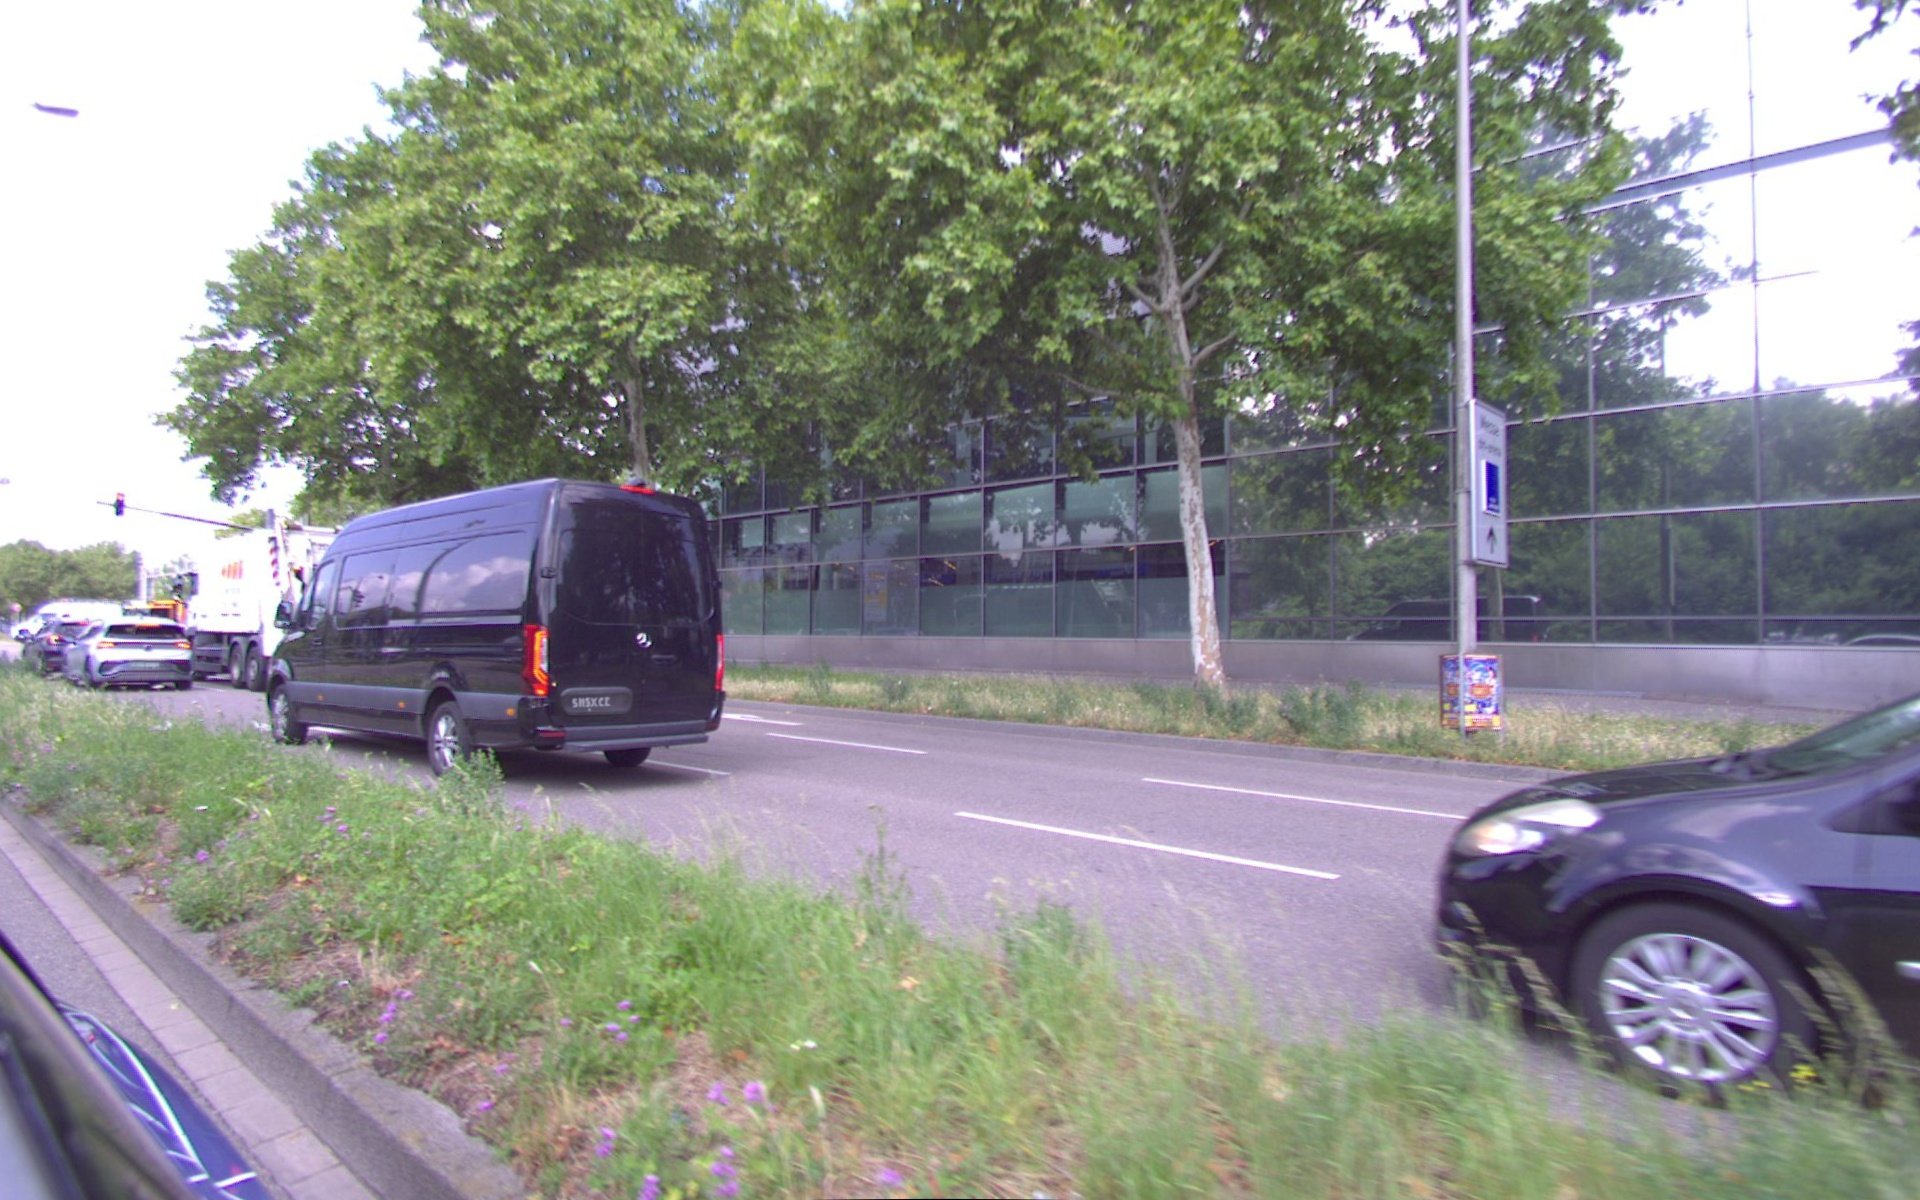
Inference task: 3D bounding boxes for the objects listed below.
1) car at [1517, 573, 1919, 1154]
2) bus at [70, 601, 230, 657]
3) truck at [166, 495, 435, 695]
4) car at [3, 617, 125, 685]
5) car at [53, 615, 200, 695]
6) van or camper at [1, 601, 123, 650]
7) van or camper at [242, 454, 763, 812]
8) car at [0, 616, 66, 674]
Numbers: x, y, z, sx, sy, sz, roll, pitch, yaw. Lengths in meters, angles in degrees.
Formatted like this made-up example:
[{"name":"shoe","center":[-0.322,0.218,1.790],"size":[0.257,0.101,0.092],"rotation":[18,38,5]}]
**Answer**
[{"name":"car","center":[3.788,0.691,2.573],"size":[3.937,1.475,1.677],"rotation":[-1,-3,39]},{"name":"bus","center":[-59.147,2.003,74.391],"size":[2.712,3.491,10.379],"rotation":[2,1,5]},{"name":"truck","center":[-16.015,0.057,24.102],"size":[10.156,3.917,2.622],"rotation":[-1,-5,42]},{"name":"car","center":[-22.877,1.231,25.801],"size":[4.358,1.599,1.690],"rotation":[-1,-1,40]},{"name":"car","center":[-18.182,1.164,22.020],"size":[4.231,1.564,1.726],"rotation":[-1,-4,41]},{"name":"van or camper","center":[-56.855,1.535,64.253],"size":[2.137,2.806,5.958],"rotation":[3,1,4]},{"name":"van or camper","center":[-5.065,0.337,10.504],"size":[6.710,2.680,2.084],"rotation":[-1,-3,39]},{"name":"car","center":[-28.314,1.293,30.186],"size":[4.565,1.586,1.846],"rotation":[0,-1,41]}]
